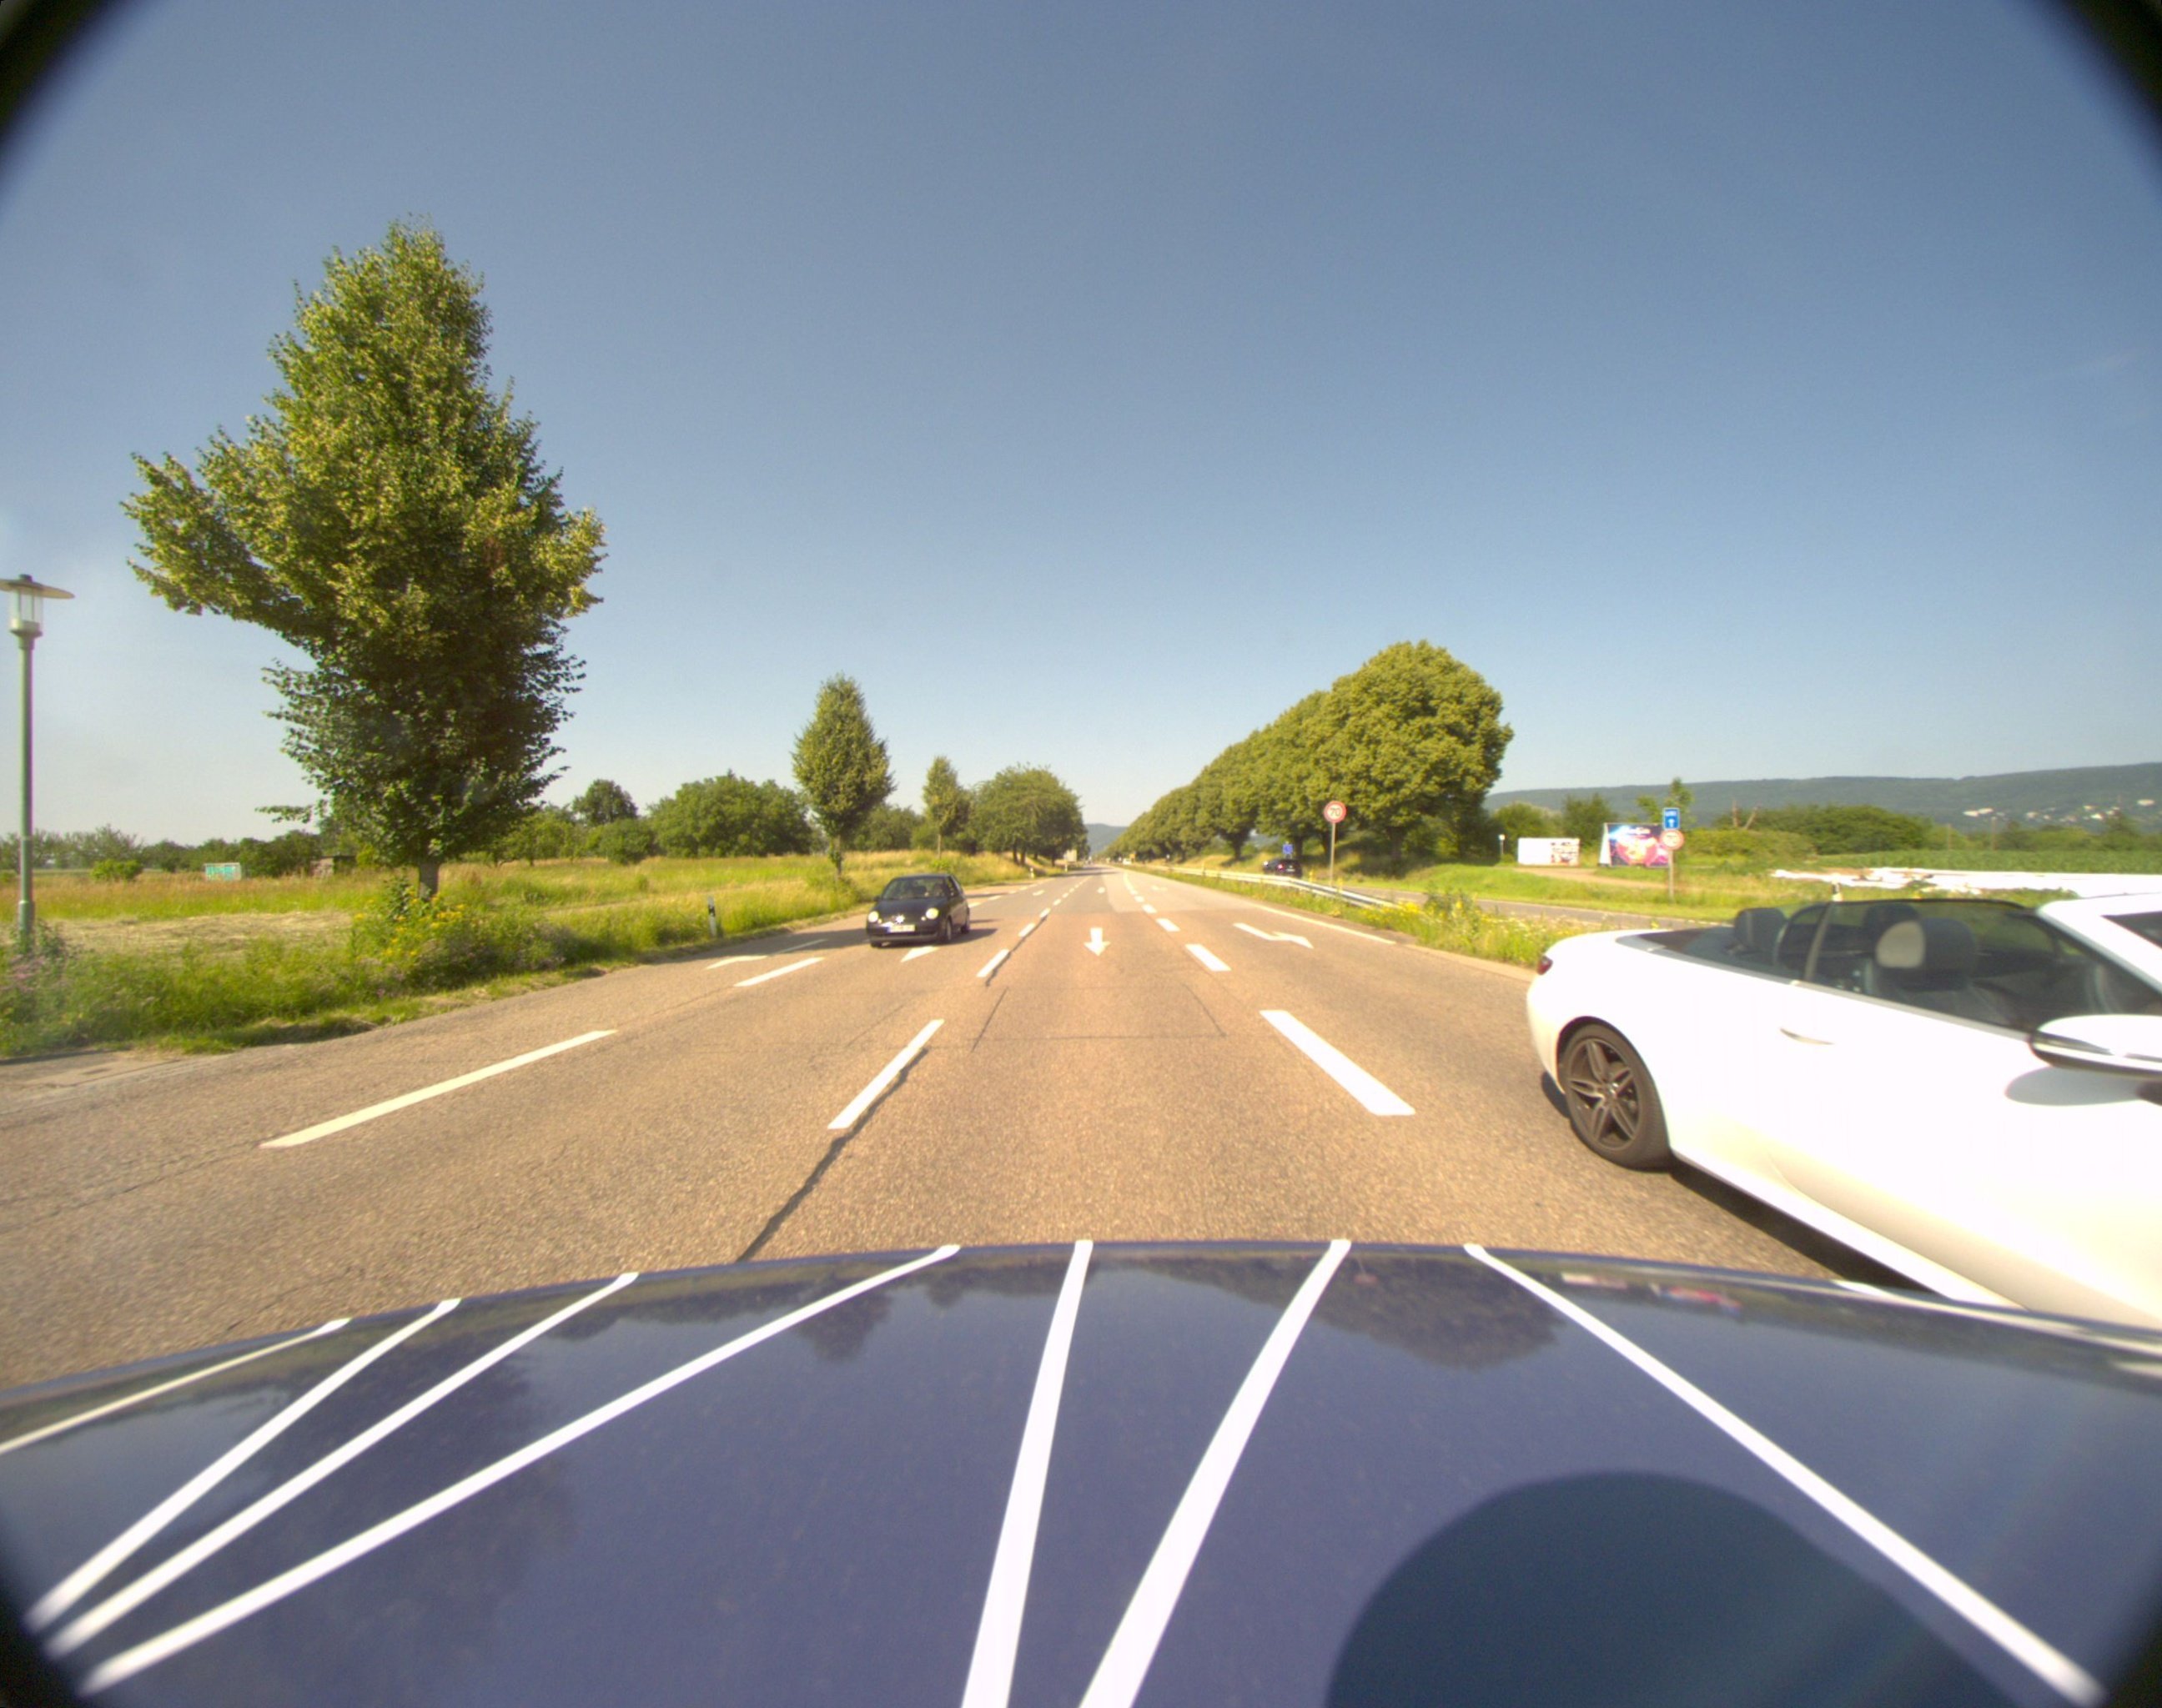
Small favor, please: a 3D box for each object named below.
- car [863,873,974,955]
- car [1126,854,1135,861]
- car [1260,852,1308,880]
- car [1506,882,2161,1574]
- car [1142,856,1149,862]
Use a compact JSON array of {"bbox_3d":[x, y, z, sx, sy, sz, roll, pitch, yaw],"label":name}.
[{"bbox_3d":[-3.343,1.183,16.266,1.629,1.425,3.622,-2,0,-1],"label":"car"},{"bbox_3d":[12.580,0.932,193.126,1.998,1.791,4.000,-1,0,2],"label":"car"},{"bbox_3d":[14.451,0.818,54.384,1.999,1.829,4.953,2,0,-1],"label":"car"},{"bbox_3d":[3.333,0.894,2.034,1.808,1.417,4.641,-2,0,1],"label":"car"},{"bbox_3d":[16.407,1.208,193.784,1.726,1.456,3.700,1,0,2],"label":"car"}]
